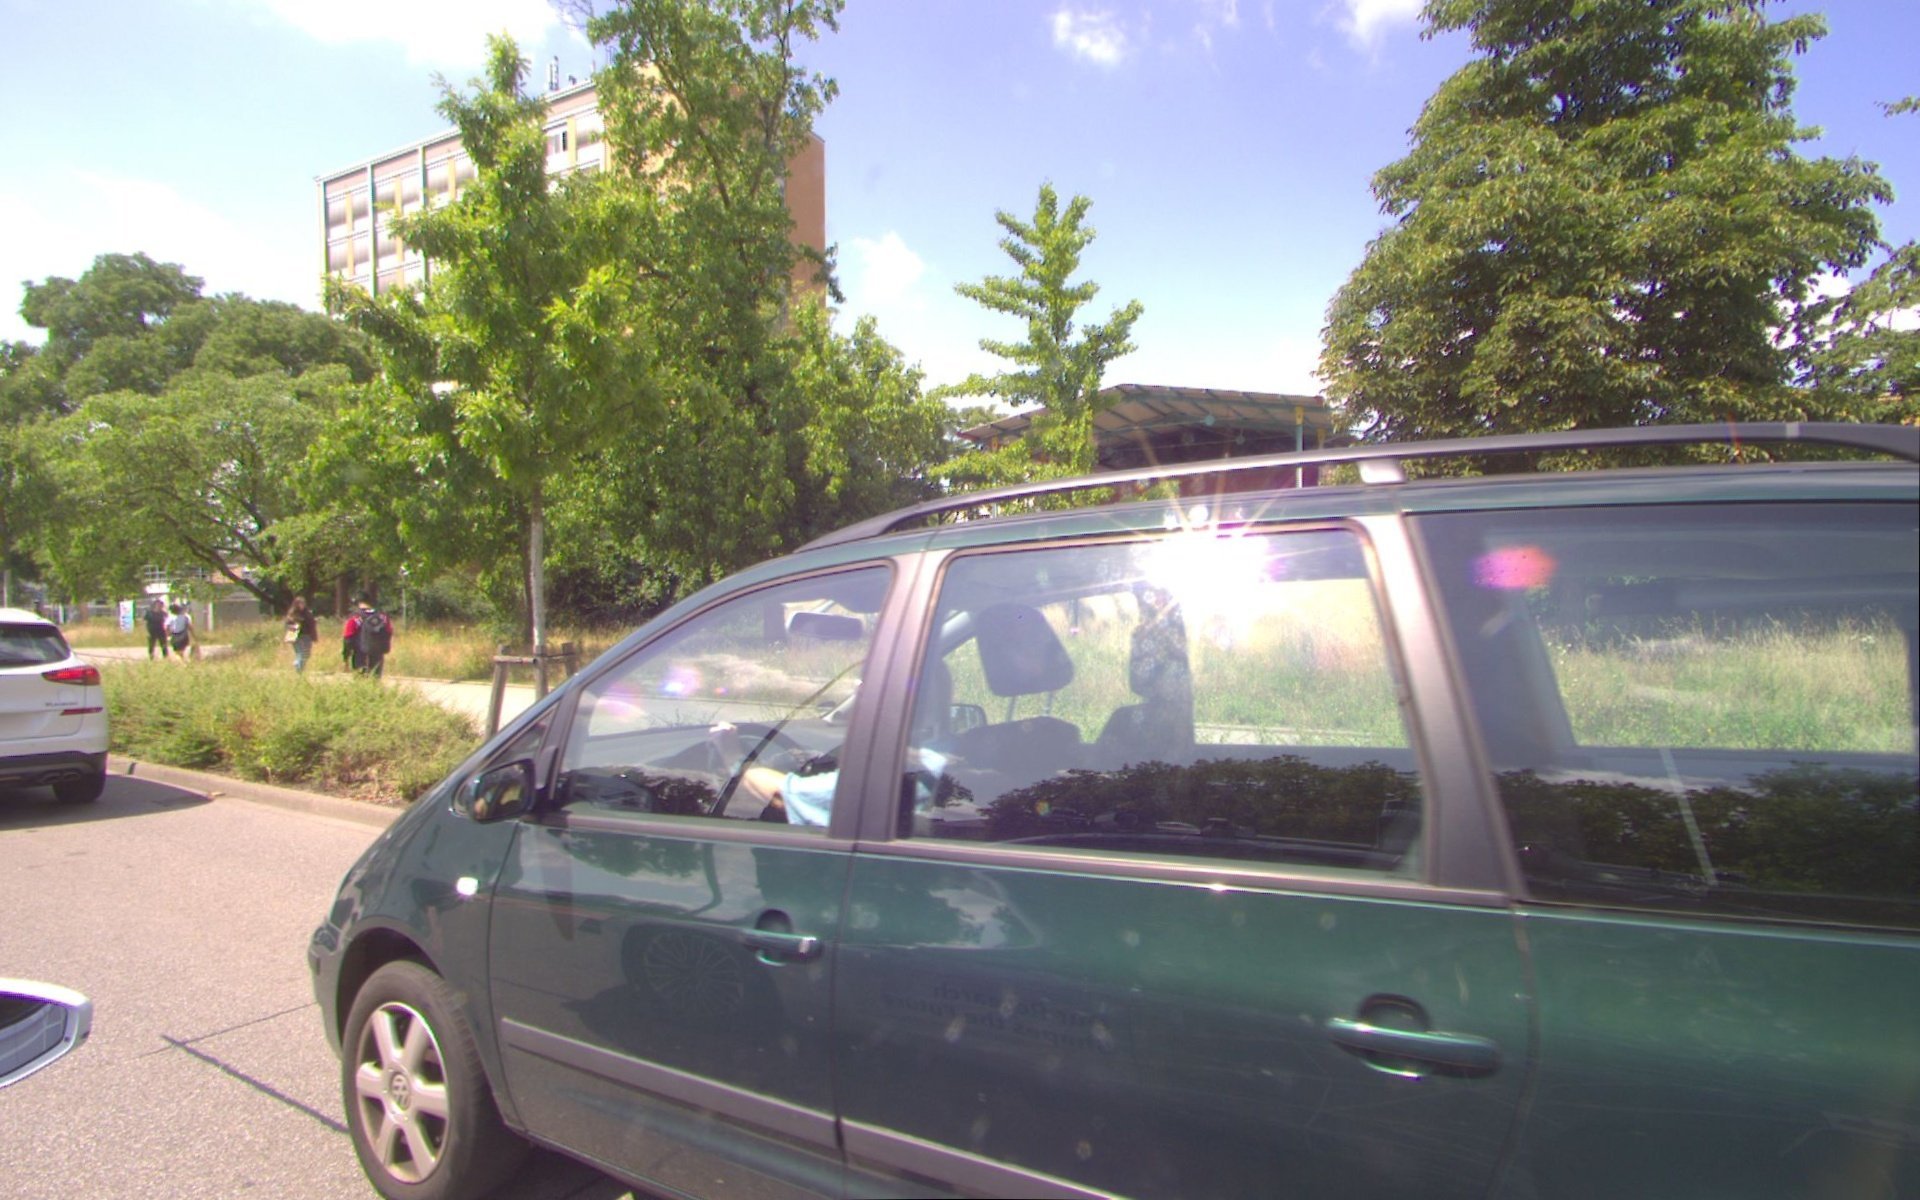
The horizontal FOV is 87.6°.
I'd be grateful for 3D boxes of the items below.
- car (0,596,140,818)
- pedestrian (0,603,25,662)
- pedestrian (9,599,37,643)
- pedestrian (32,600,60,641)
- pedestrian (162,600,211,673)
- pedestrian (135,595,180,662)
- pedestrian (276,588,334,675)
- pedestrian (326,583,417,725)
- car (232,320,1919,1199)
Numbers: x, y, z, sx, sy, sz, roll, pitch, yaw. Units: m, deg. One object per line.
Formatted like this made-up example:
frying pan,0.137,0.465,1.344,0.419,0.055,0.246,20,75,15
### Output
car,-8.953,0.809,8.600,4.174,1.663,1.876,0,0,34
pedestrian,-29.419,0.996,30.843,0.600,1.770,0.666,0,2,27
pedestrian,-40.036,0.880,42.777,0.602,1.827,0.746,1,2,39
pedestrian,-39.765,0.876,43.562,0.602,1.776,0.746,1,2,39
pedestrian,-17.787,0.828,23.035,0.638,1.618,0.665,0,2,32
pedestrian,-21.813,0.757,27.221,0.657,1.774,0.747,0,2,31
pedestrian,-13.697,0.647,20.938,0.865,1.774,0.665,0,2,32
pedestrian,-7.668,0.677,13.054,0.836,1.774,0.665,0,2,32
car,0.214,0.642,2.493,4.385,1.745,1.791,0,-2,33
